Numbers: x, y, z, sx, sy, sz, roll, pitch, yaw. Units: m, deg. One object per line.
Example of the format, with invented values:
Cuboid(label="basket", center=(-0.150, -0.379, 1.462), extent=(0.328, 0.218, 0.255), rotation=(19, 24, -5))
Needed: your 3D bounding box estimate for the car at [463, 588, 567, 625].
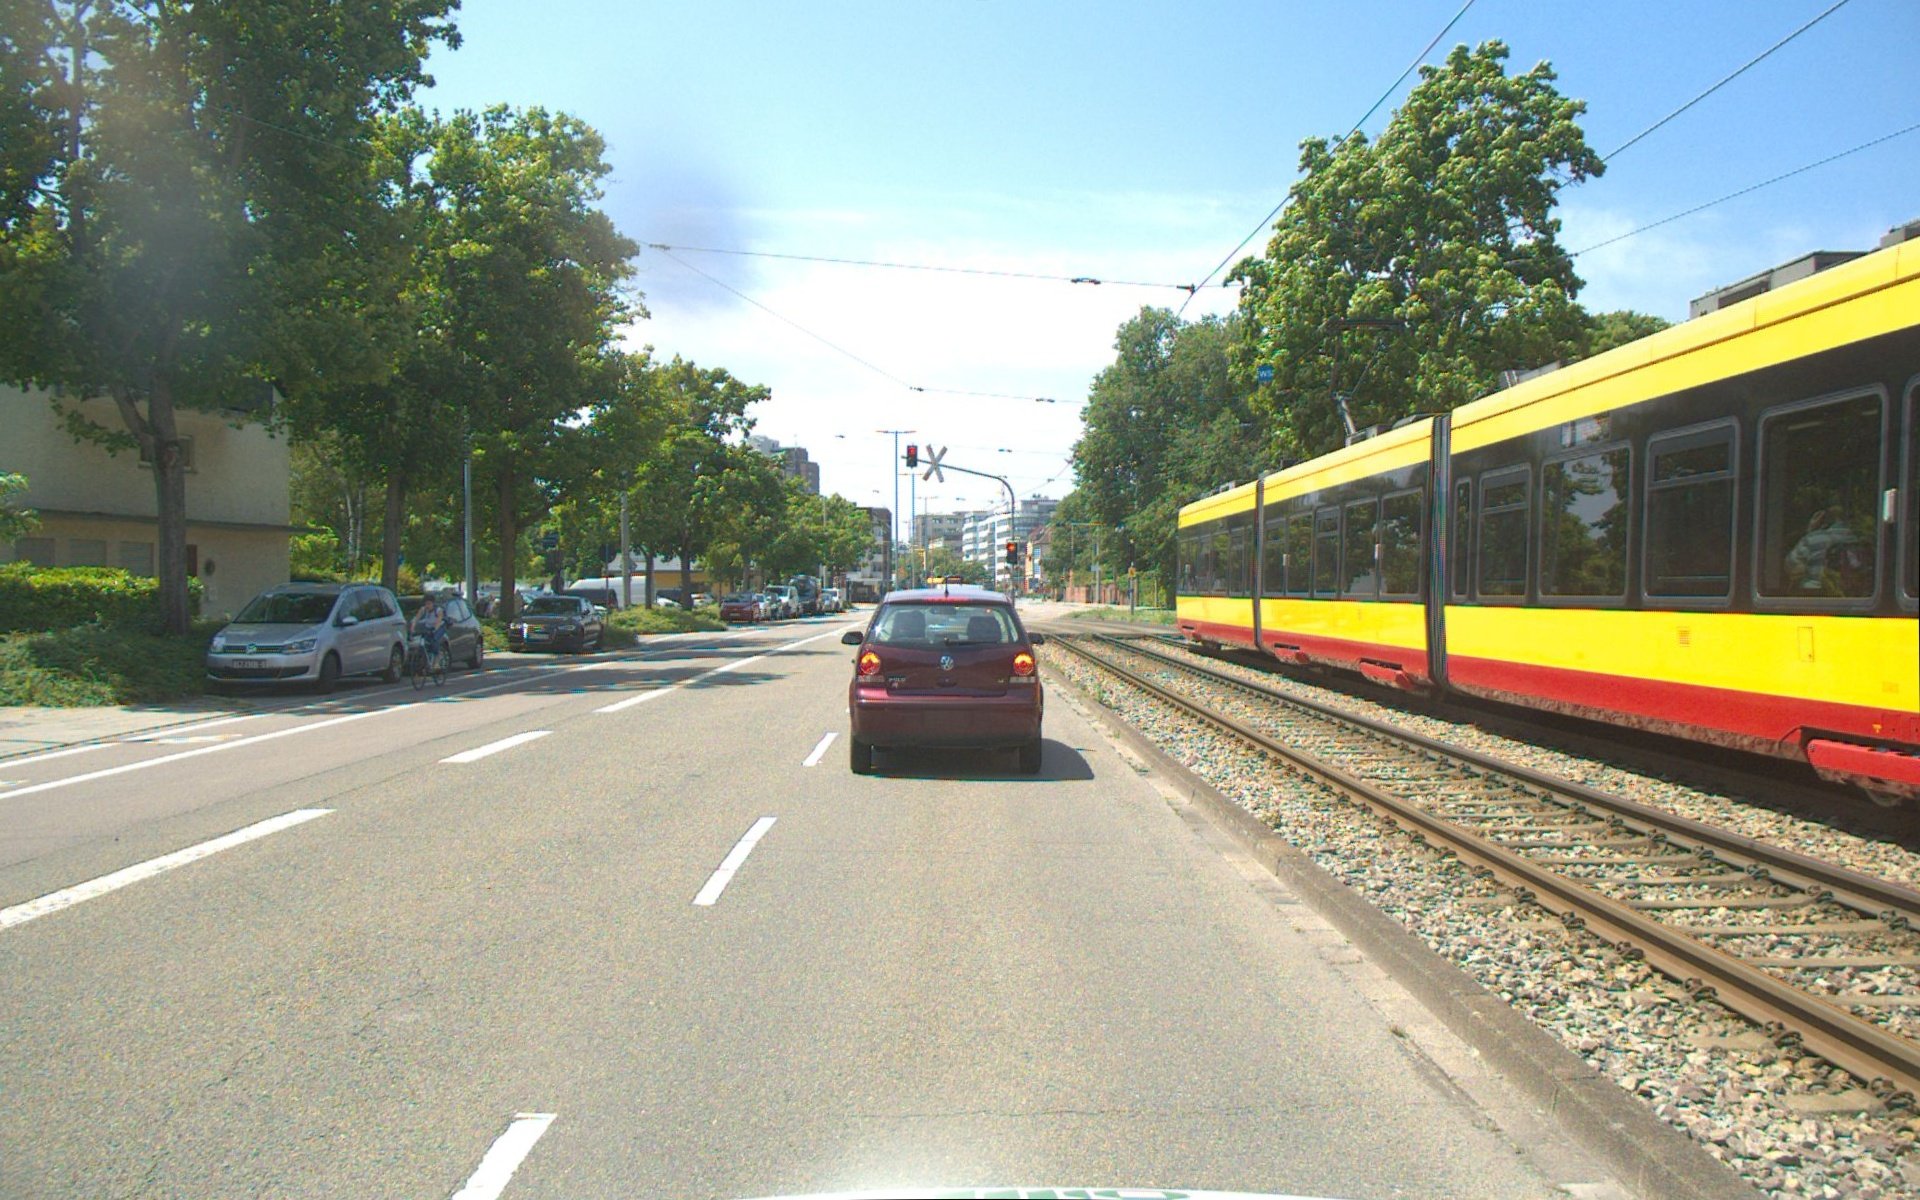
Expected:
Cuboid(label="car", center=(-20.771, 0.310, 77.247), extent=(4.251, 1.612, 1.914), rotation=(-1, 0, 5))

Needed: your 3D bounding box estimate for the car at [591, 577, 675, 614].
Cuboid(label="car", center=(-21.685, -0.273, 109.754), extent=(4.992, 2.284, 2.378), rotation=(1, -1, 0))

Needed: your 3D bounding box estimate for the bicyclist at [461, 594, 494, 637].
Cuboid(label="bicyclist", center=(-15.958, 0.522, 54.705), extent=(0.792, 1.398, 0.828), rotation=(1, -1, 2))

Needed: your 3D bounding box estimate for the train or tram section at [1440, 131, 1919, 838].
Cuboid(label="train or tram section", center=(6.724, -0.660, 11.392), extent=(2.966, 3.864, 13.089), rotation=(-1, 0, 0))

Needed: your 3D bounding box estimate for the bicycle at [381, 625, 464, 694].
Cuboid(label="bicycle", center=(-8.733, 0.949, 26.977), extent=(0.688, 0.967, 2.242), rotation=(-3, 1, -3))

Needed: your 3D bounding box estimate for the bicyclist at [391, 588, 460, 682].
Cuboid(label="bicyclist", center=(-8.715, 0.565, 27.011), extent=(0.720, 1.455, 1.124), rotation=(-4, 0, -4))

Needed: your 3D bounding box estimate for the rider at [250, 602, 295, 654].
Cuboid(label="rider", center=(-18.715, 0.751, 45.033), extent=(0.808, 1.398, 0.812), rotation=(-1, 0, 7))

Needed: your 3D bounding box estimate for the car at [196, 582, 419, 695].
Cuboid(label="car", center=(-10.594, 0.550, 27.262), extent=(1.834, 1.693, 4.780), rotation=(0, 1, -1))

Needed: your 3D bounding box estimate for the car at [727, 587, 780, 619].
Cuboid(label="car", center=(-11.043, 0.192, 88.566), extent=(1.934, 1.629, 4.560), rotation=(1, 0, 4))

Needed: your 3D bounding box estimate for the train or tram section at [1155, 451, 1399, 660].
Cuboid(label="train or tram section", center=(6.660, -0.874, 37.227), extent=(2.966, 3.864, 12.759), rotation=(-1, 0, 0))

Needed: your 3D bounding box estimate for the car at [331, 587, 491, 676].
Cuboid(label="car", center=(-10.641, 0.565, 32.355), extent=(1.782, 1.592, 4.180), rotation=(1, 0, -1))

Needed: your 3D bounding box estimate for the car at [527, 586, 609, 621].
Cuboid(label="car", center=(-20.818, 0.167, 87.991), extent=(3.906, 1.776, 1.998), rotation=(-1, 0, -2))

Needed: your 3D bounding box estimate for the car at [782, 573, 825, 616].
Cuboid(label="car", center=(-10.567, -0.354, 111.856), extent=(2.313, 2.739, 5.307), rotation=(1, -1, 0))

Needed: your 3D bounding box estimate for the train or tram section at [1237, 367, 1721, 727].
Cuboid(label="train or tram section", center=(6.719, -0.627, 24.453), extent=(2.966, 3.864, 13.089), rotation=(-1, 0, 0))

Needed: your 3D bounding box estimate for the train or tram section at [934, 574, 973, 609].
Cuboid(label="train or tram section", center=(-0.790, -0.950, 181.925), extent=(2.689, 3.672, 12.849), rotation=(1, 0, -7))

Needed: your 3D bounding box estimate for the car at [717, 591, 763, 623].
Cuboid(label="car", center=(-10.862, 0.356, 82.018), extent=(1.628, 1.523, 4.000), rotation=(1, 0, 1))

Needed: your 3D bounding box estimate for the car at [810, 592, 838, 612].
Cuboid(label="car", center=(-10.639, 0.175, 129.422), extent=(1.581, 1.466, 4.001), rotation=(1, 0, 3))

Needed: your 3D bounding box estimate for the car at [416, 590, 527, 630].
Cuboid(label="car", center=(-21.272, 0.416, 72.143), extent=(4.256, 1.612, 1.912), rotation=(-1, 0, -3))

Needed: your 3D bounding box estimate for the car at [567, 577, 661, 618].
Cuboid(label="car", center=(-20.612, -0.129, 98.621), extent=(4.992, 2.284, 2.378), rotation=(1, -1, 0))

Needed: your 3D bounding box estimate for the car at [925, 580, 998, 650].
Cuboid(label="car", center=(-0.015, 0.345, 42.400), extent=(1.741, 1.676, 3.999), rotation=(1, 0, -2))

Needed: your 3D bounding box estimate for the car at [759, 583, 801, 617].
Cuboid(label="car", center=(-10.735, 0.036, 98.809), extent=(1.746, 1.914, 4.787), rotation=(1, 0, 2))

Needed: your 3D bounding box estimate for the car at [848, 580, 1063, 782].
Cuboid(label="car", center=(-0.078, 0.614, 14.835), extent=(1.638, 1.548, 3.999), rotation=(1, 0, -1))

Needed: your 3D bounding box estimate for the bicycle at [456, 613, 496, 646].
Cuboid(label="bicycle", center=(-15.991, 0.971, 54.730), extent=(0.686, 1.047, 1.829), rotation=(1, -1, 3))

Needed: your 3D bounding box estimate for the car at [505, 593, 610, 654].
Cuboid(label="car", center=(-10.700, 0.578, 44.270), extent=(1.782, 1.502, 4.448), rotation=(1, 0, -1))
